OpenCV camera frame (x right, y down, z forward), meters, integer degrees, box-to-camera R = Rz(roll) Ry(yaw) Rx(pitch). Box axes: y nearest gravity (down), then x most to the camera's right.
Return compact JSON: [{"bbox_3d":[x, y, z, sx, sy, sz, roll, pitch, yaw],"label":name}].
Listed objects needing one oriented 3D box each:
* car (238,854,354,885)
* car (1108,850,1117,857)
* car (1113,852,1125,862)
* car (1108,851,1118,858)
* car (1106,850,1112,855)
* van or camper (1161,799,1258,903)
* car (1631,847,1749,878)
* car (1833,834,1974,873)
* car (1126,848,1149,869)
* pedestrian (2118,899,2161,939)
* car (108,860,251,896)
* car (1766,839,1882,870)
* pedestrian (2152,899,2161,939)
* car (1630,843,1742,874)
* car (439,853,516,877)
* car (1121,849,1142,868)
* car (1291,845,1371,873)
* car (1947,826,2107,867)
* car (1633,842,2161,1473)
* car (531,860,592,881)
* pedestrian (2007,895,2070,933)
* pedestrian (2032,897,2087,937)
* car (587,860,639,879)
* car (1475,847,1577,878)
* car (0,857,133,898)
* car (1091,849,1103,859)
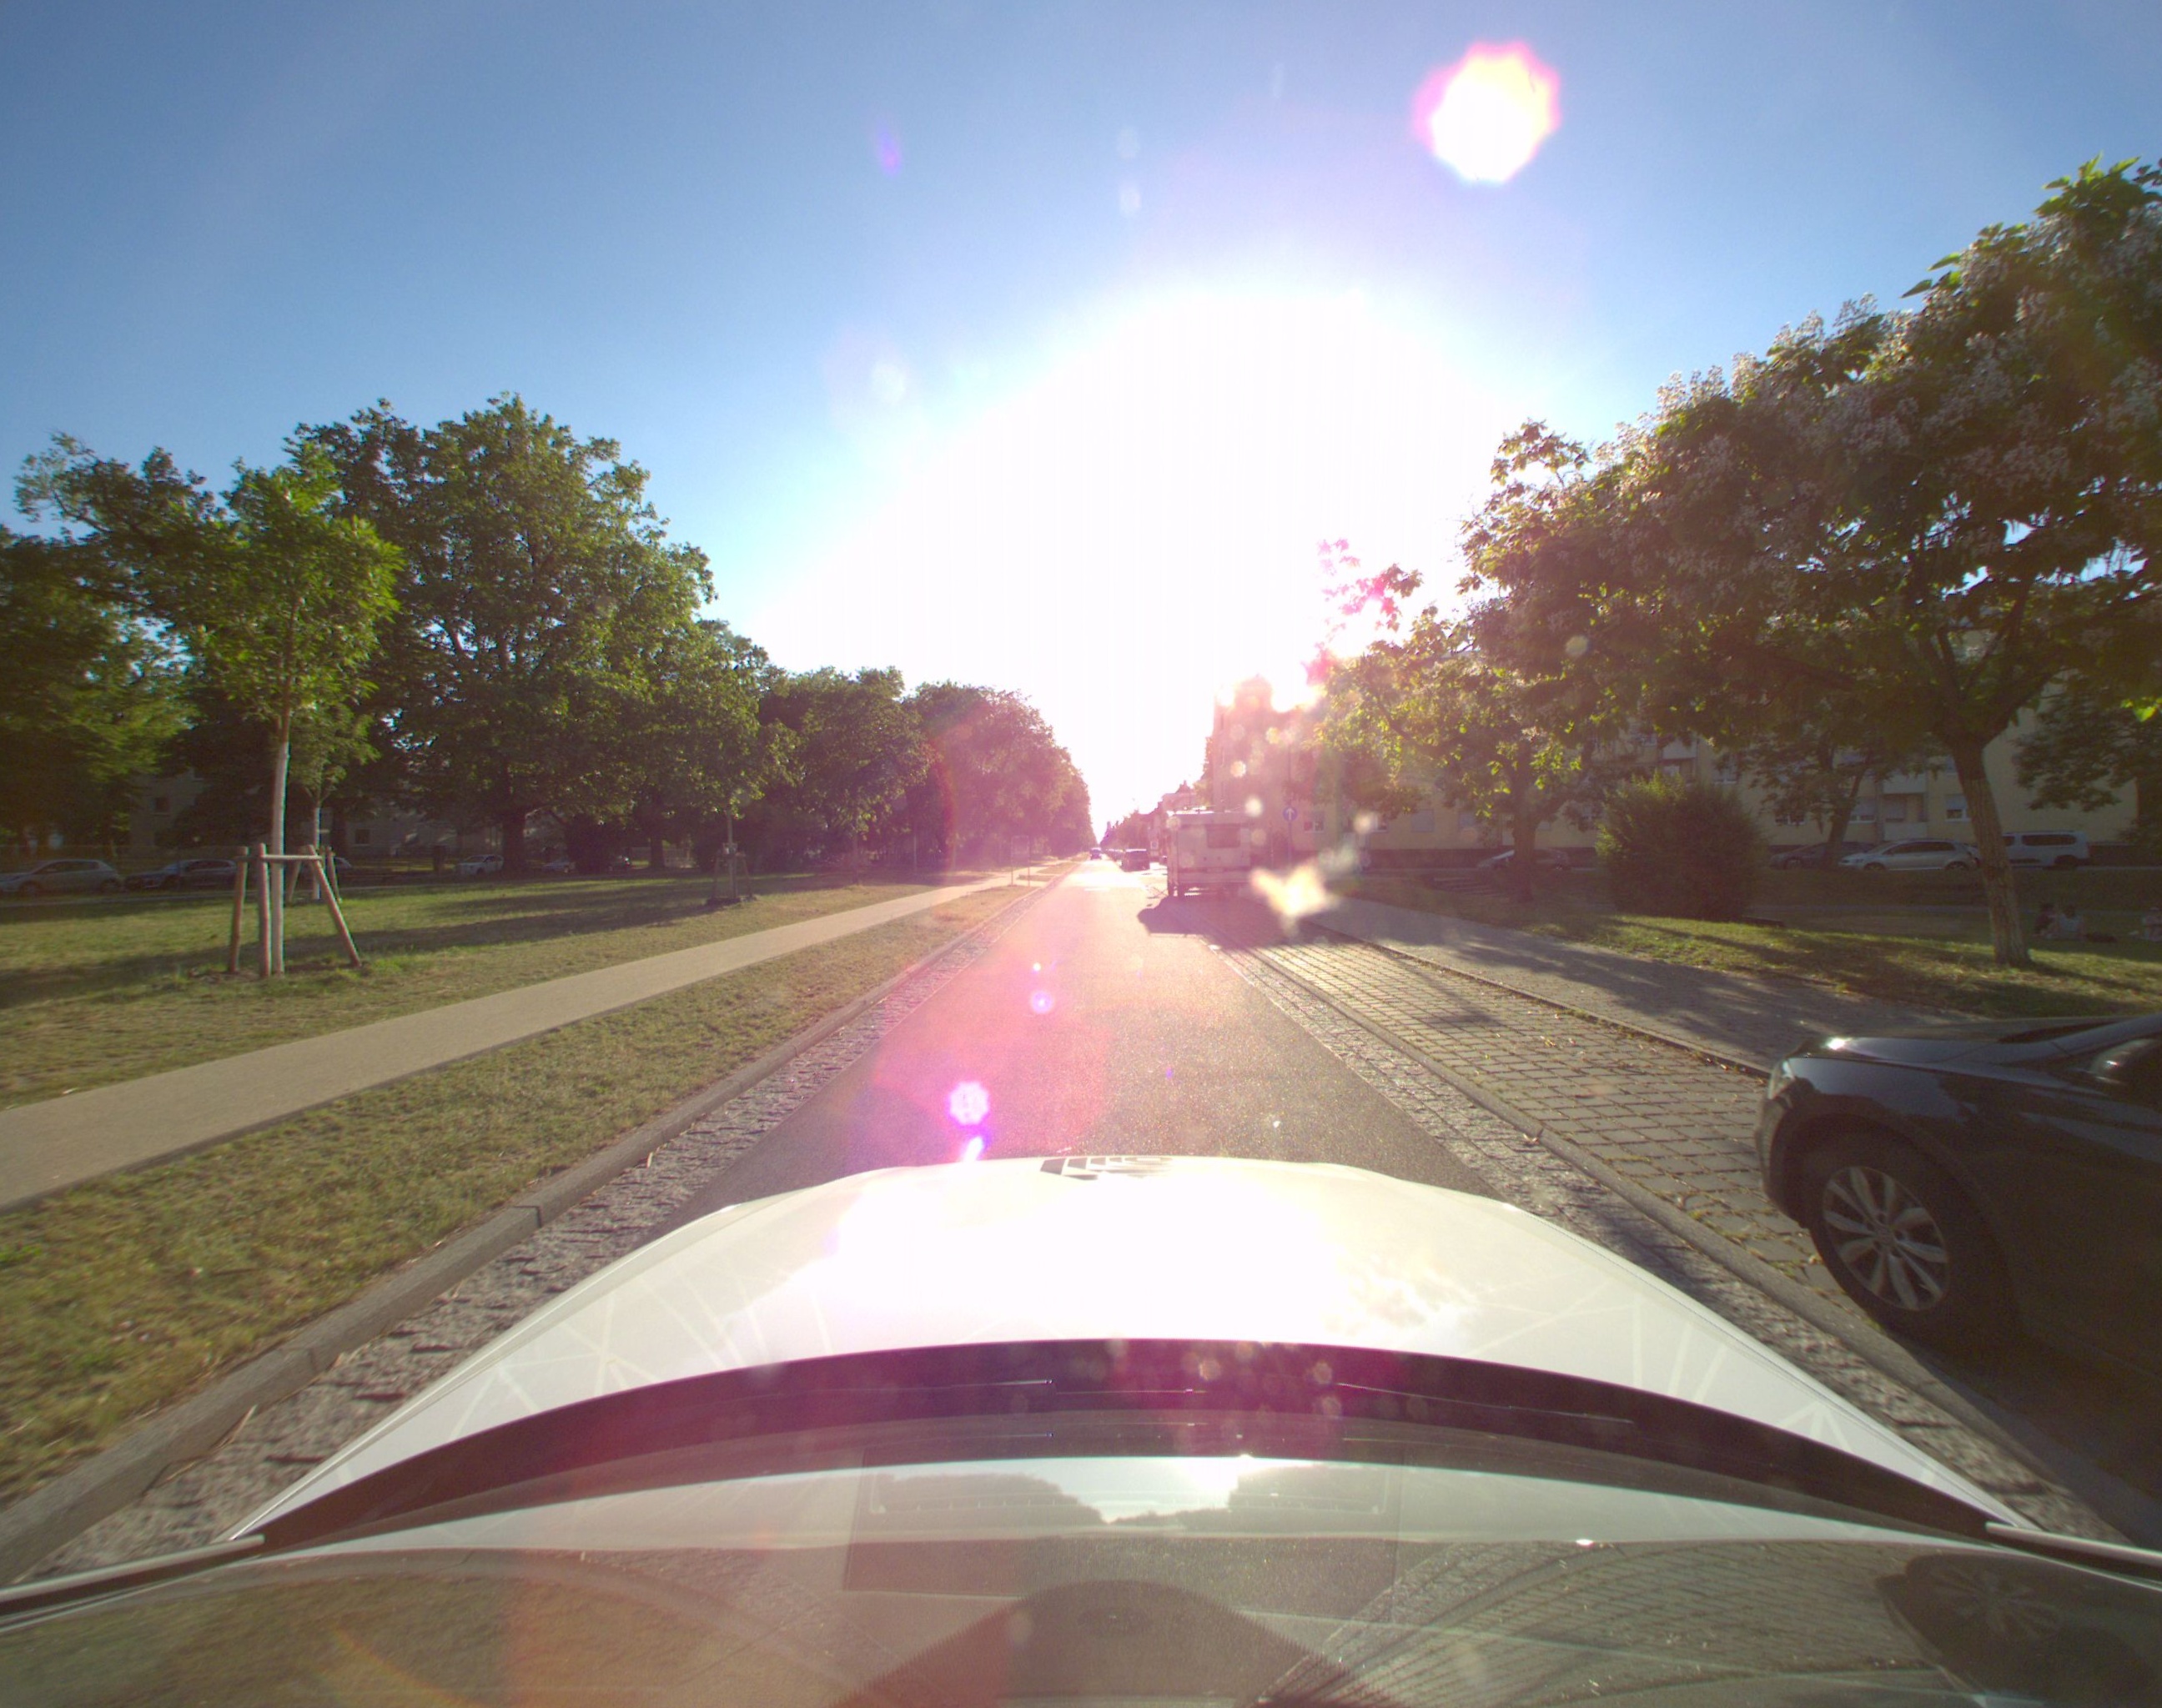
[{"bbox_3d":[-40.957,0.767,42.659,1.986,1.508,4.117,-1,0,2],"label":"car"},{"bbox_3d":[6.548,-0.121,168.674,1.621,1.410,4.250,-1,0,1],"label":"car"},{"bbox_3d":[5.625,0.478,121.314,1.621,1.410,4.250,-1,0,1],"label":"car"},{"bbox_3d":[6.000,0.089,152.673,1.621,1.410,4.250,-1,0,1],"label":"car"},{"bbox_3d":[7.615,-0.447,221.204,1.621,1.410,4.250,-1,0,1],"label":"car"},{"bbox_3d":[3.923,-0.036,25.900,2.226,2.904,5.673,-1,-1,1],"label":"van or camper"},{"bbox_3d":[28.614,0.402,38.421,4.158,1.357,1.702,-1,0,22],"label":"car"},{"bbox_3d":[35.305,-0.010,35.094,3.949,1.552,1.620,-1,0,28],"label":"car"},{"bbox_3d":[4.666,0.341,67.532,1.621,1.669,4.250,-1,0,1],"label":"car"},{"bbox_3d":[23.167,1.405,17.703,0.470,0.812,0.612,0,0,2],"label":"pedestrian"},{"bbox_3d":[-41.160,1.040,37.332,1.986,1.508,4.002,-1,0,2],"label":"car"},{"bbox_3d":[37.190,0.049,40.903,3.949,1.453,1.892,-1,0,29],"label":"car"},{"bbox_3d":[23.129,1.366,16.767,0.577,0.812,1.244,0,0,-43],"label":"pedestrian"},{"bbox_3d":[32.293,0.236,43.627,4.473,1.569,1.890,-1,0,20],"label":"car"},{"bbox_3d":[-40.596,0.734,54.893,1.986,1.508,4.117,-1,0,2],"label":"car"},{"bbox_3d":[4.896,0.425,78.701,1.985,1.717,4.004,-1,0,4],"label":"car"},{"bbox_3d":[14.680,0.279,47.970,4.175,1.530,2.003,-1,0,5],"label":"car"},{"bbox_3d":[43.288,-0.295,37.441,4.467,1.746,1.892,-1,0,36],"label":"car"},{"bbox_3d":[3.333,0.696,1.516,1.622,1.464,4.246,-1,0,-2],"label":"car"},{"bbox_3d":[-40.530,1.285,63.702,1.986,1.508,4.117,-1,0,2],"label":"car"},{"bbox_3d":[22.230,1.384,18.919,0.608,0.812,0.724,0,0,2],"label":"pedestrian"},{"bbox_3d":[21.398,1.373,17.815,0.470,0.812,0.612,0,0,2],"label":"pedestrian"},{"bbox_3d":[-40.371,1.290,70.323,1.986,1.508,4.117,-1,0,2],"label":"car"},{"bbox_3d":[21.983,0.429,40.413,4.162,1.463,1.700,-1,0,16],"label":"car"},{"bbox_3d":[-41.344,0.906,32.606,1.986,1.508,4.002,-1,0,2],"label":"car"},{"bbox_3d":[2.627,0.006,133.567,1.819,1.669,4.250,-1,0,1],"label":"car"}]
